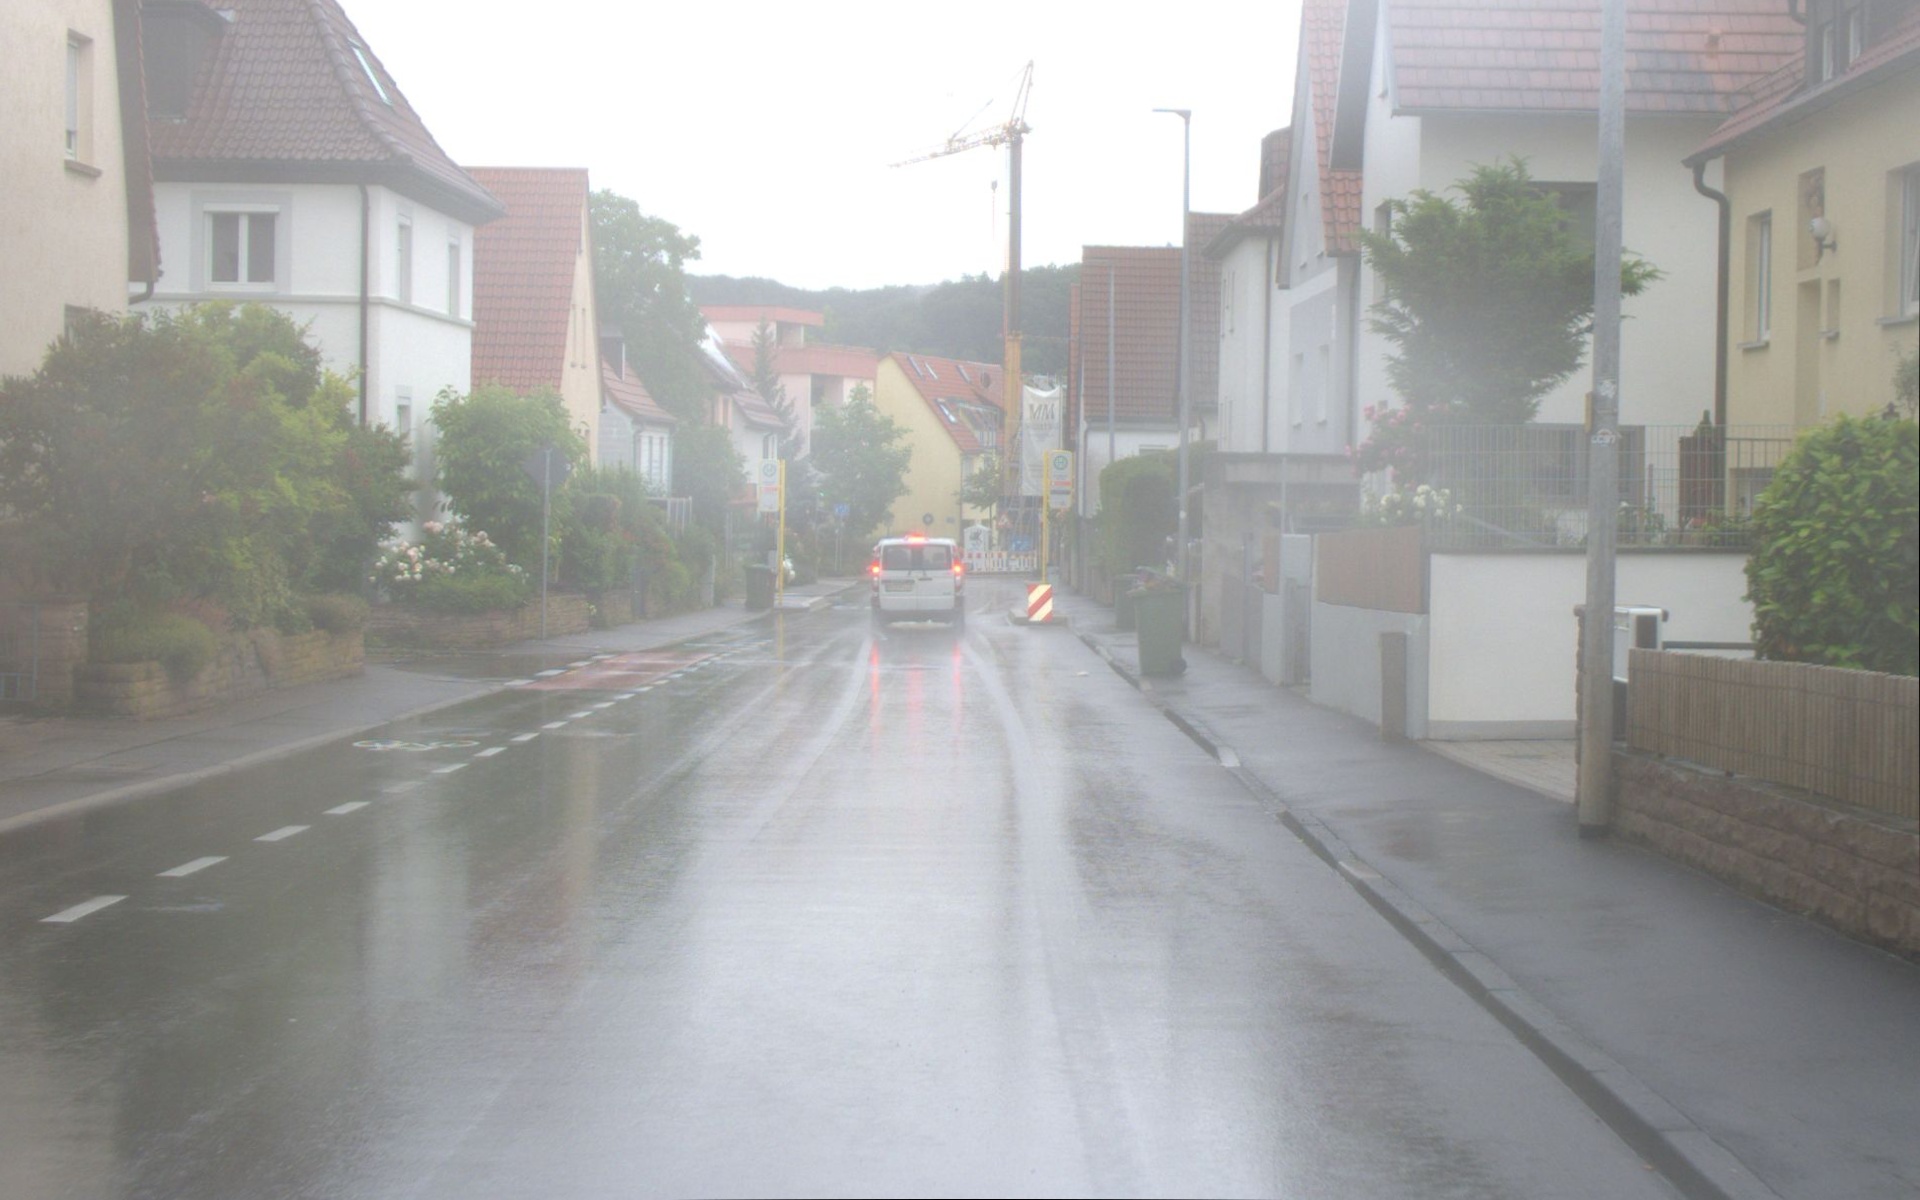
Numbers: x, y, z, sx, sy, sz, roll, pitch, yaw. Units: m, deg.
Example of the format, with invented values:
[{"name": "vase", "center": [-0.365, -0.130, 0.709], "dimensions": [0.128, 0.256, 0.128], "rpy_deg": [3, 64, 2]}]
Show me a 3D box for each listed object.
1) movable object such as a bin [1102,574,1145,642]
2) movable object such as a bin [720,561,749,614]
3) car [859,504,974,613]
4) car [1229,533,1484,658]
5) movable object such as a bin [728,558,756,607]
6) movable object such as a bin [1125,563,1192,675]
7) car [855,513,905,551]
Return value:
[{"name": "movable object such as a bin", "center": [3.245, 0.158, 68.317], "dimensions": [0.785, 1.272, 0.714], "rpy_deg": [3, 4, 4]}, {"name": "movable object such as a bin", "center": [-5.894, -0.326, 89.840], "dimensions": [0.682, 1.318, 0.639], "rpy_deg": [2, 4, -5]}, {"name": "car", "center": [-0.843, -0.882, 69.389], "dimensions": [2.117, 1.881, 4.503], "rpy_deg": [2, 4, 1]}, {"name": "car", "center": [5.620, -0.077, 48.994], "dimensions": [3.374, 1.557, 1.515], "rpy_deg": [2, 4, 0]}, {"name": "movable object such as a bin", "center": [-5.752, -0.456, 90.599], "dimensions": [0.682, 1.219, 0.639], "rpy_deg": [2, 4, -5]}, {"name": "movable object such as a bin", "center": [2.368, 0.220, 41.117], "dimensions": [0.745, 1.274, 0.882], "rpy_deg": [1, 4, 1]}, {"name": "car", "center": [-3.828, -3.258, 165.126], "dimensions": [1.842, 1.573, 4.289], "rpy_deg": [3, 4, 5]}]
